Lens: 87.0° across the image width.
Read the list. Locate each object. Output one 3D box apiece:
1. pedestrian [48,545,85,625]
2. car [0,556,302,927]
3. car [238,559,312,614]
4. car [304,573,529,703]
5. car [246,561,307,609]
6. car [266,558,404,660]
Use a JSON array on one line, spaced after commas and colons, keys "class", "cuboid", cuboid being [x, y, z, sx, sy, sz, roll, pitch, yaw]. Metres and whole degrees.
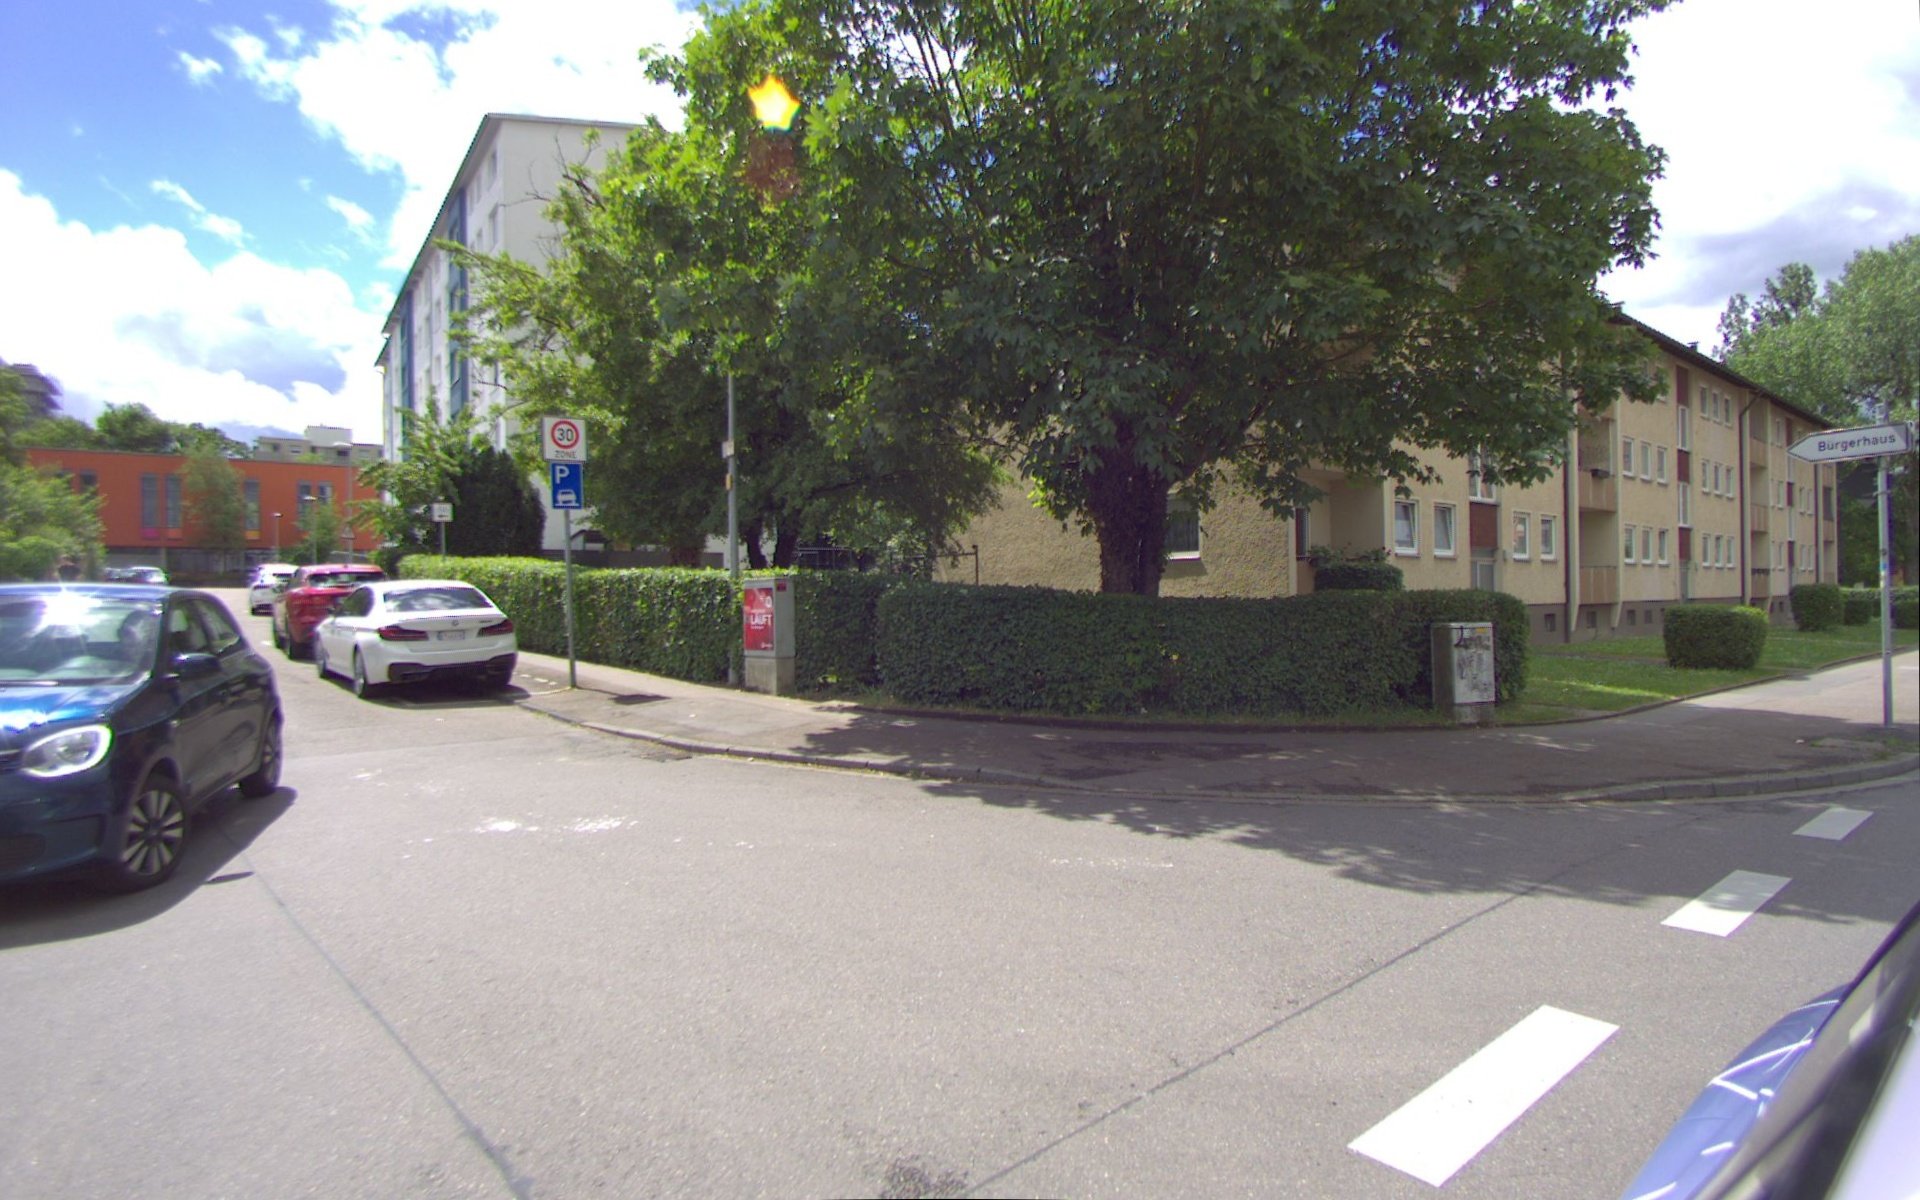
[{"class": "pedestrian", "cuboid": [-22.130, -0.355, 25.073, 0.669, 1.940, 0.572, 0, -2, -42]}, {"class": "car", "cuboid": [-5.231, 0.573, 5.838, 1.803, 1.591, 3.656, 0, 1, -23]}, {"class": "car", "cuboid": [-22.999, -0.479, 33.923, 1.818, 1.708, 4.535, 0, 1, -37]}, {"class": "car", "cuboid": [-7.819, 0.405, 14.330, 1.820, 1.523, 4.530, 0, 1, -41]}, {"class": "car", "cuboid": [-26.272, -0.590, 38.895, 1.816, 1.708, 5.468, 0, 1, -34]}, {"class": "car", "cuboid": [-12.000, 0.085, 19.303, 1.793, 1.733, 4.244, 0, 2, -38]}]
